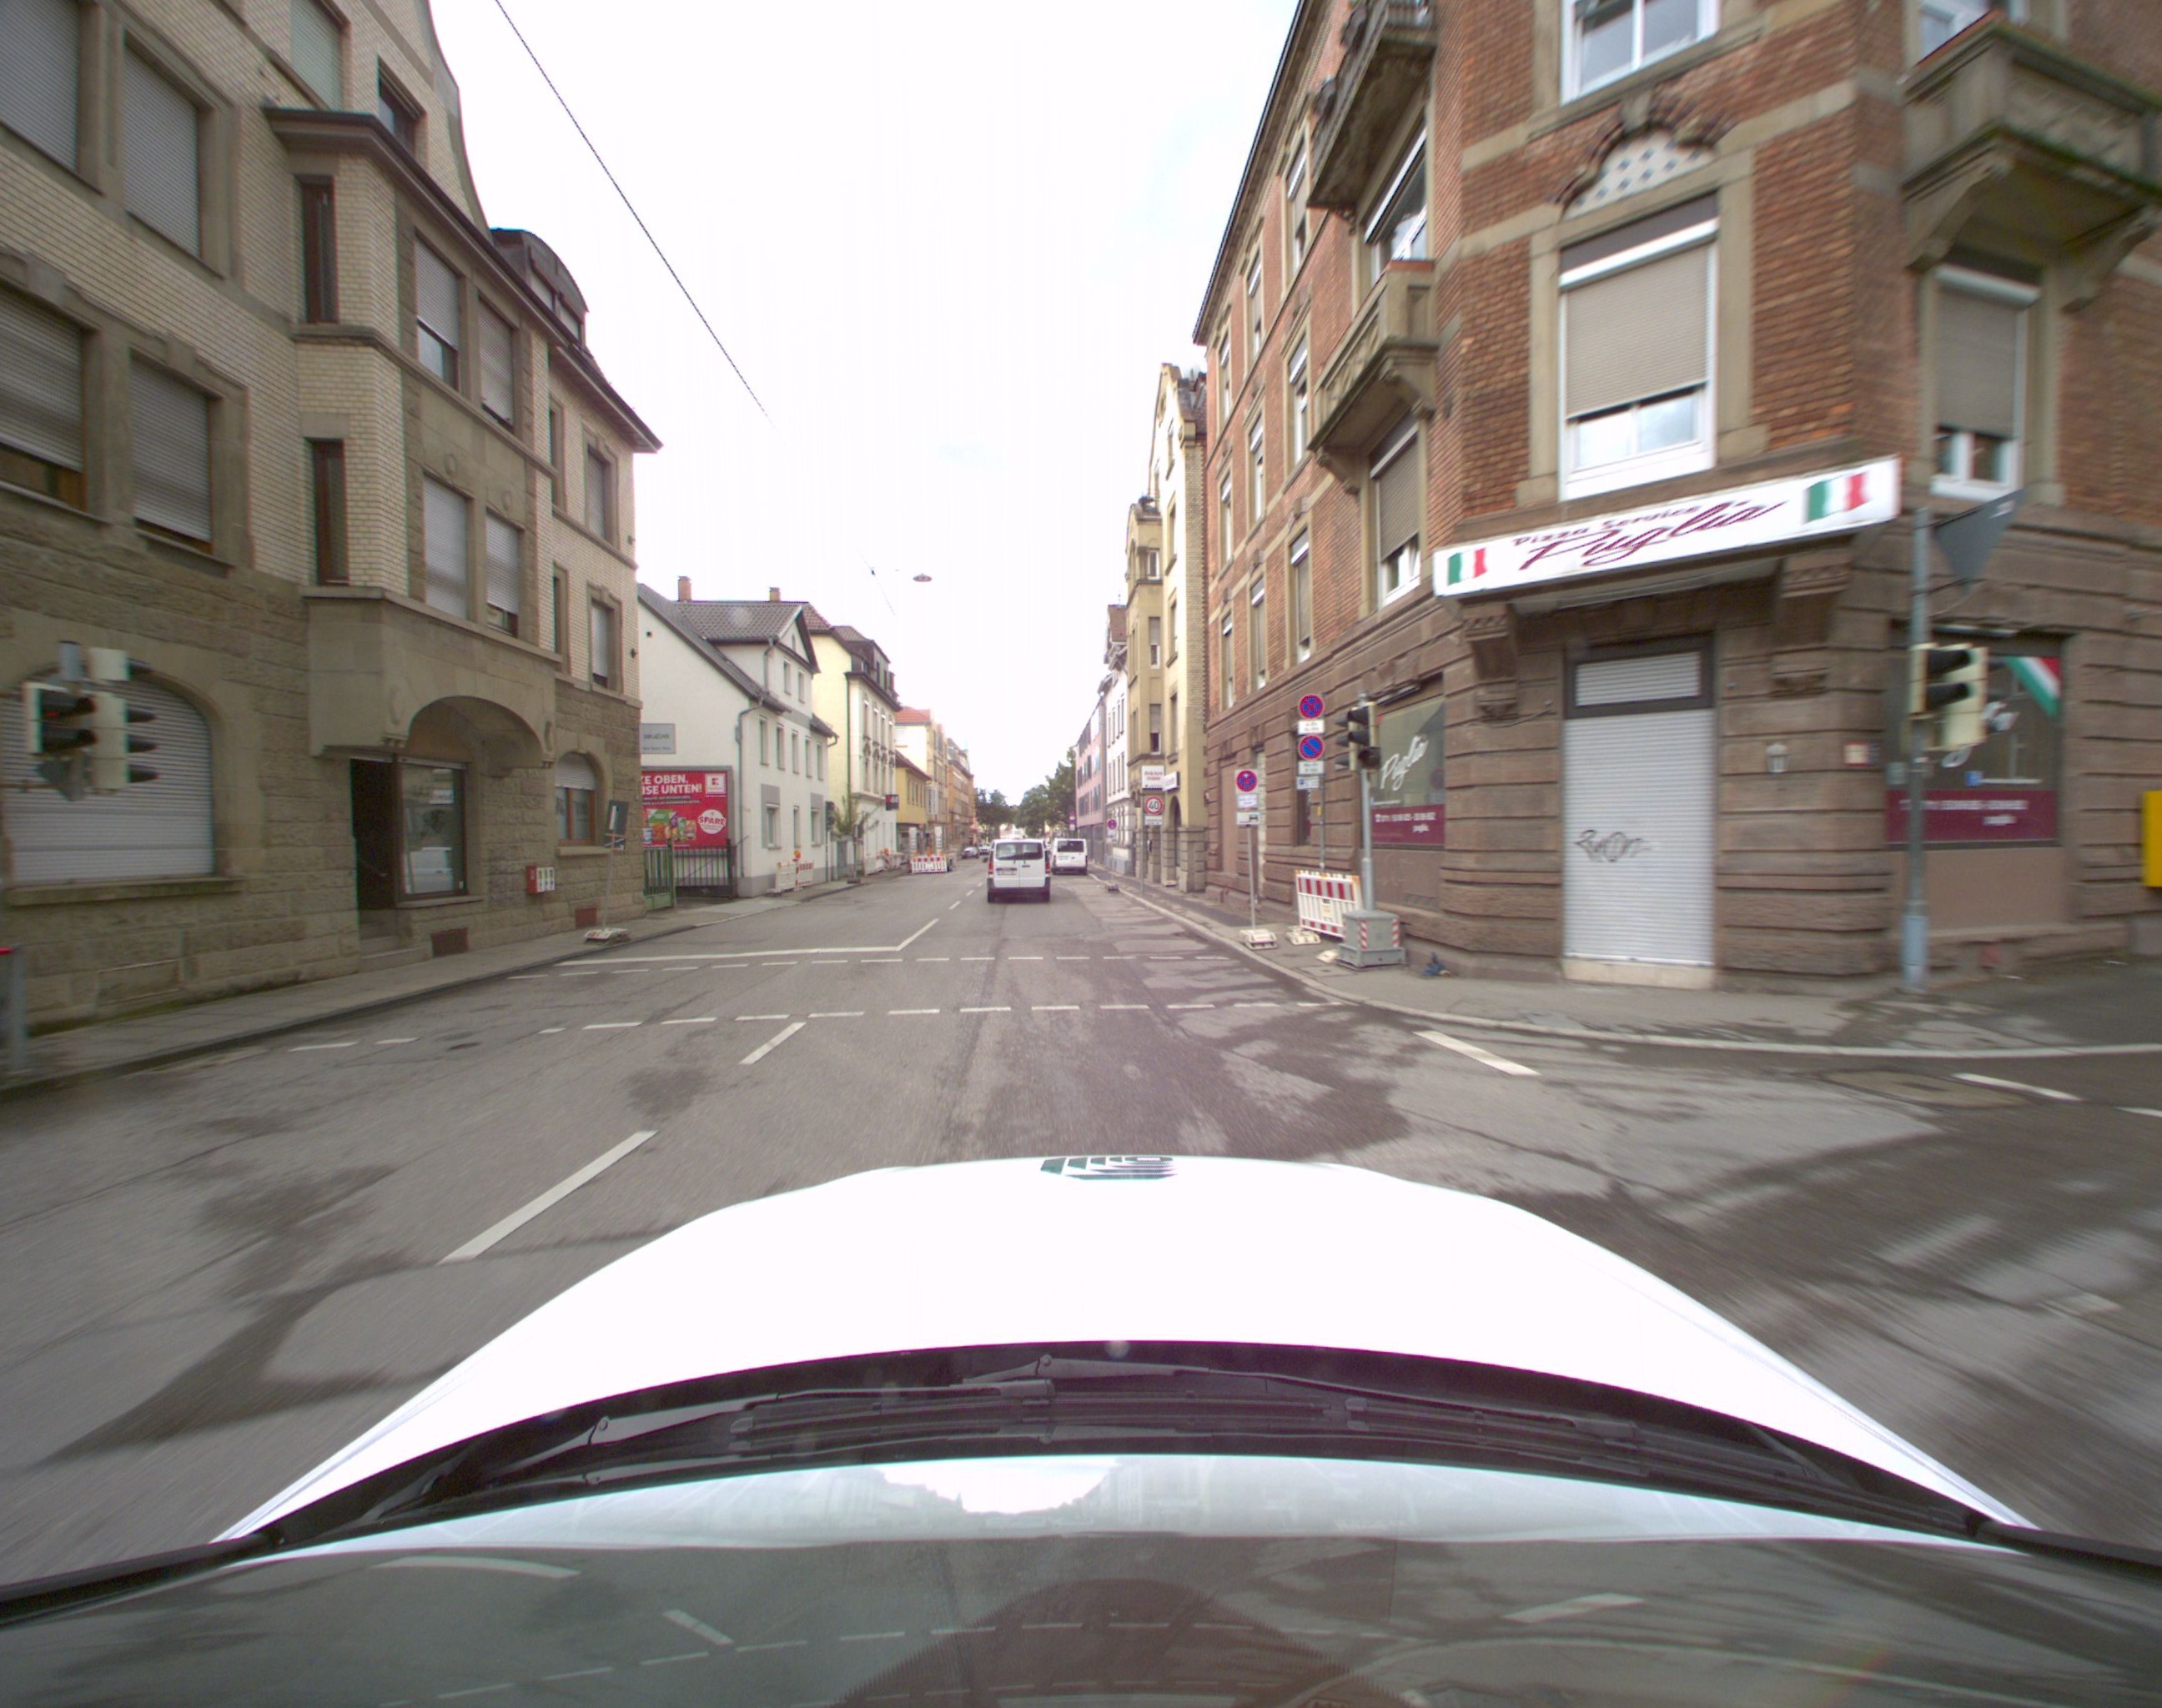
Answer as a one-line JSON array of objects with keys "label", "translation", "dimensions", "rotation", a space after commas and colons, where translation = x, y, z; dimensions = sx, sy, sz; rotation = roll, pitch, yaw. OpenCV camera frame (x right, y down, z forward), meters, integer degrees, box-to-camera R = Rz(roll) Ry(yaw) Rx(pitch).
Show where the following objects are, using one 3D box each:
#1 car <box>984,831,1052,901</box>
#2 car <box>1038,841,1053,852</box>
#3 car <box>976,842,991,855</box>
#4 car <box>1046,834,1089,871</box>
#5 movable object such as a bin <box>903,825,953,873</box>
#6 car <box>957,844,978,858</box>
[{"label": "car", "translation": [-2.041, 0.343, 25.570], "dimensions": [1.889, 1.929, 4.635], "rotation": [-1, 0, -6]}, {"label": "car", "translation": [-5.195, -1.094, 117.718], "dimensions": [1.990, 1.485, 3.994], "rotation": [2, 1, -5]}, {"label": "car", "translation": [-14.010, -0.852, 117.099], "dimensions": [1.990, 1.741, 3.993], "rotation": [2, 1, -5]}, {"label": "car", "translation": [-0.838, -0.130, 47.303], "dimensions": [2.125, 2.004, 4.918], "rotation": [1, 1, -5]}, {"label": "movable object such as a bin", "translation": [-9.697, -0.345, 51.970], "dimensions": [2.533, 2.825, 4.532], "rotation": [-3, 1, -5]}, {"label": "car", "translation": [-12.810, -0.372, 92.203], "dimensions": [1.990, 1.441, 3.994], "rotation": [-2, 1, -5]}]
